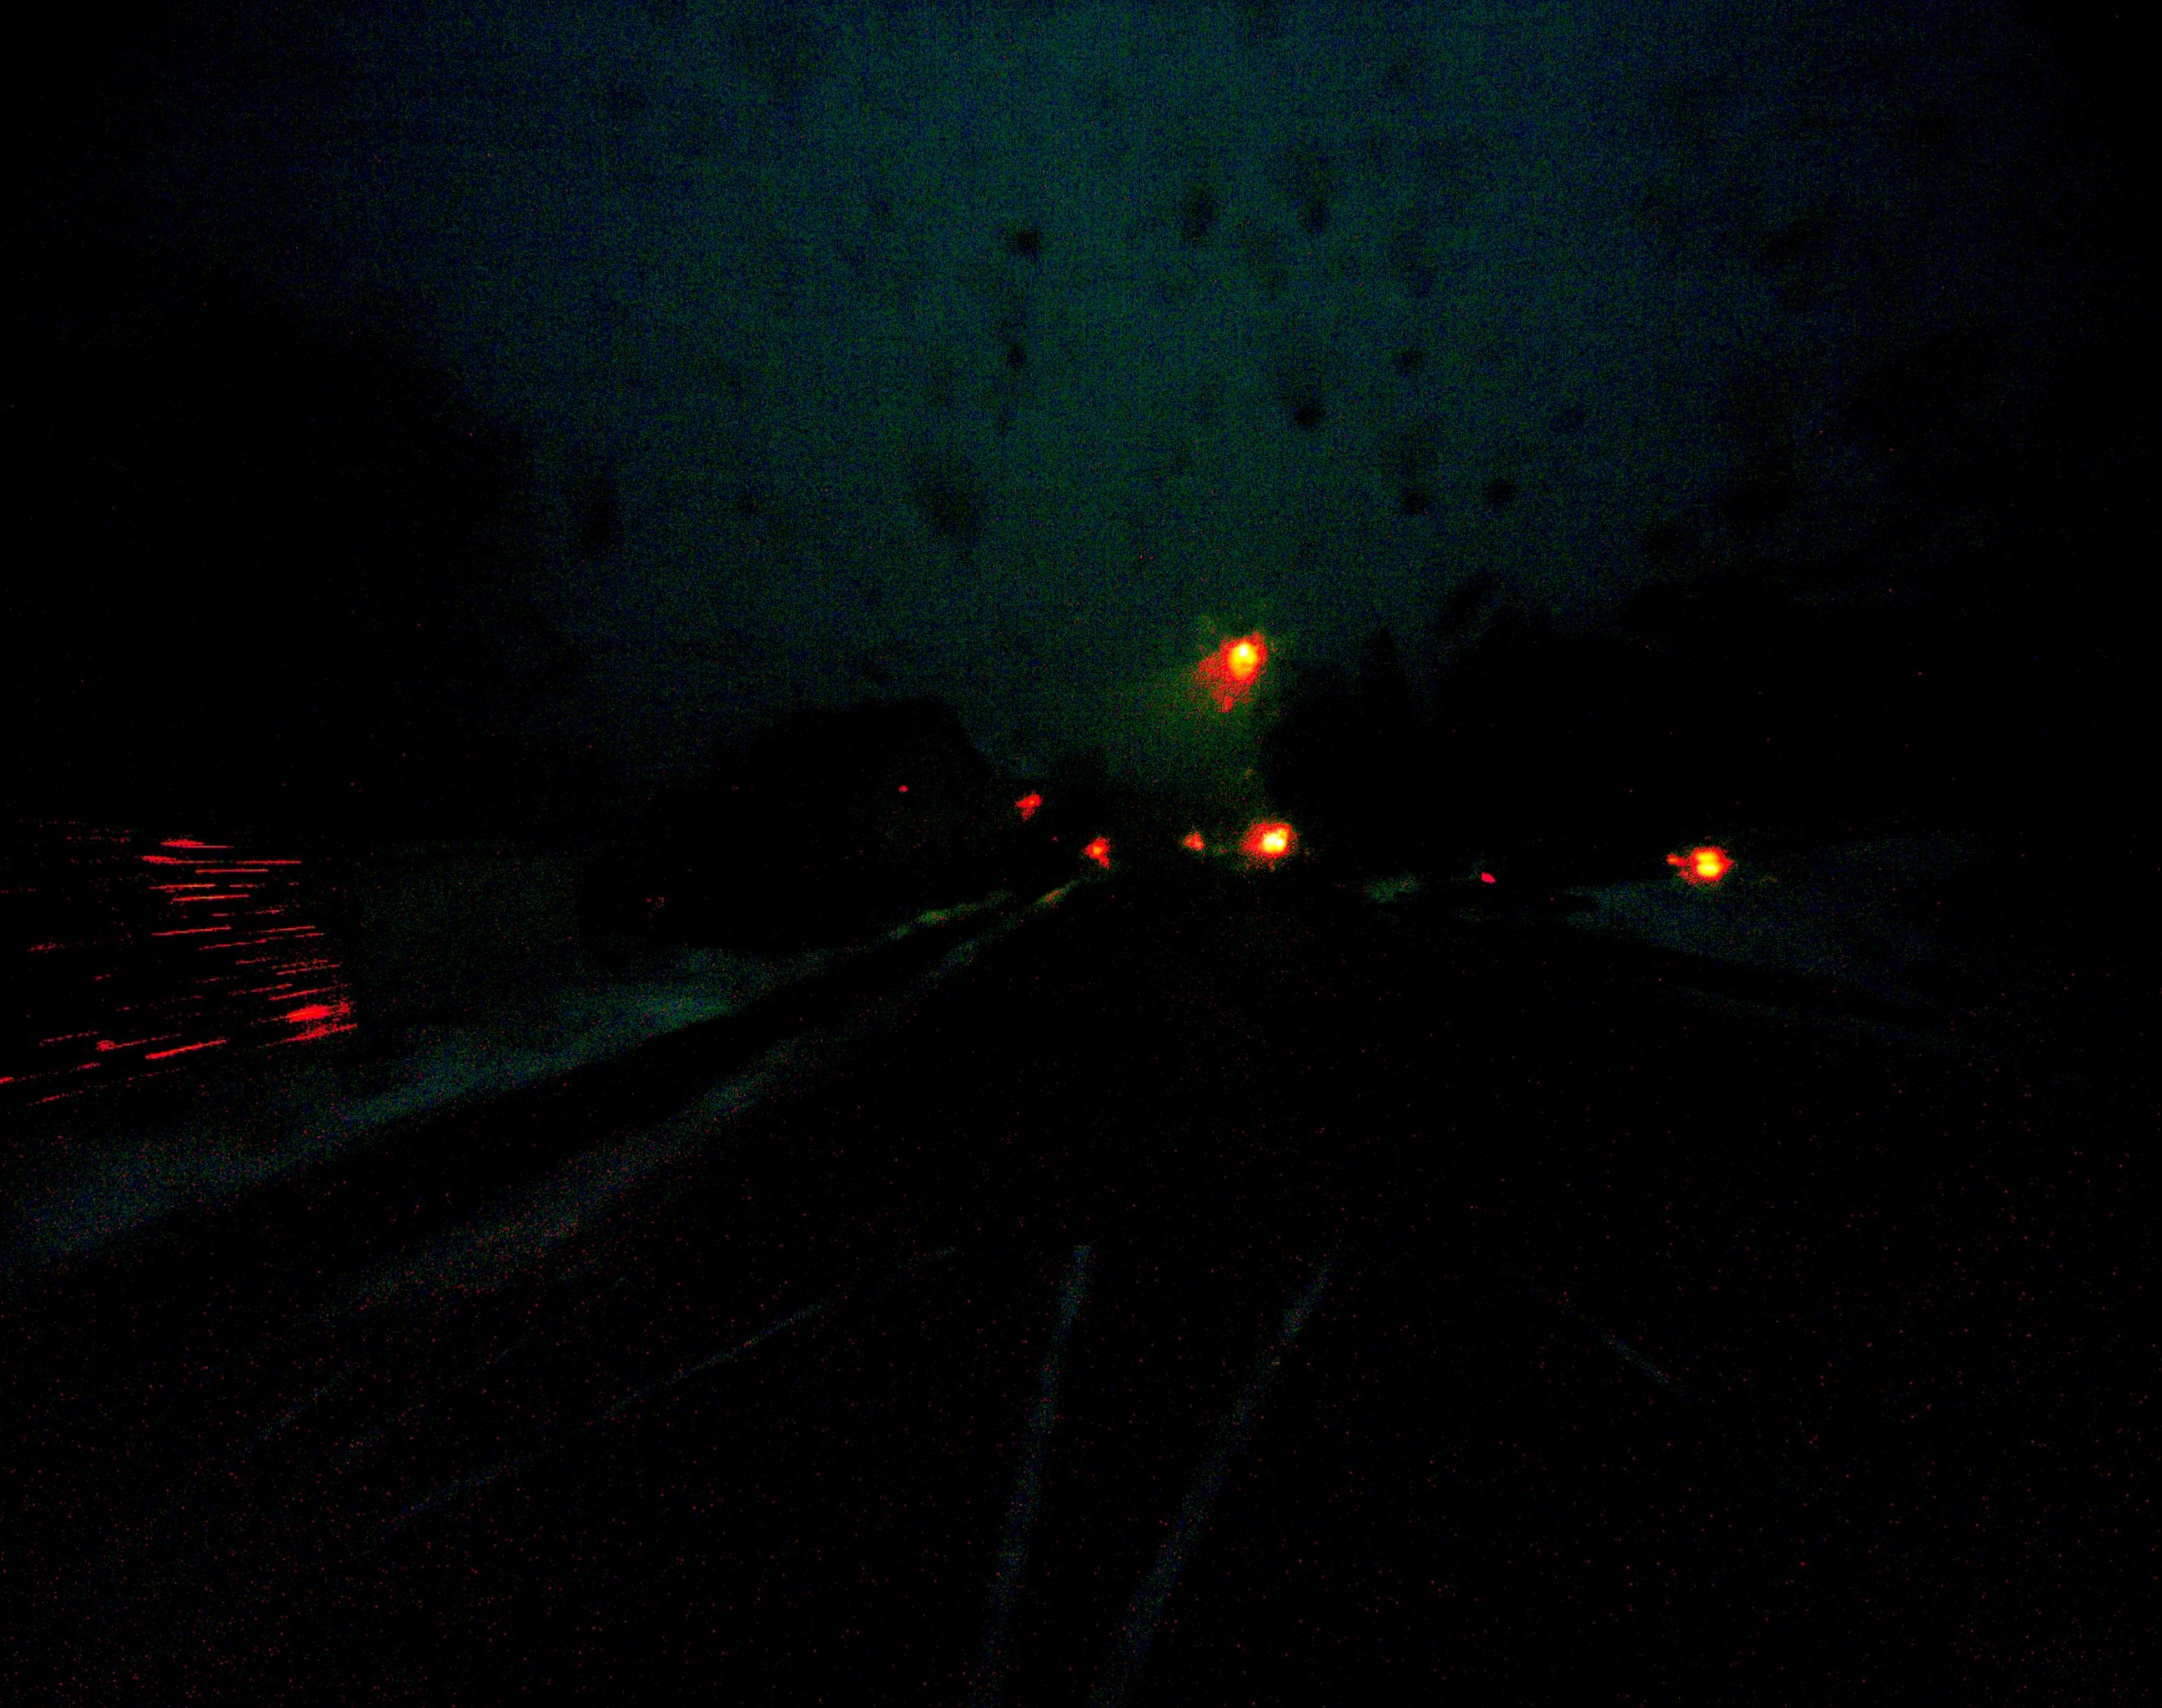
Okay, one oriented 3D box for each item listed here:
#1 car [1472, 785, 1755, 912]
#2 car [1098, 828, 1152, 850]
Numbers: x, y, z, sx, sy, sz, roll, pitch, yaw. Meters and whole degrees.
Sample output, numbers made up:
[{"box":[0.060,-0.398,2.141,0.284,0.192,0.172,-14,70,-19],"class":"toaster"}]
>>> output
[{"box":[9.982,-0.065,14.518,3.993,1.600,1.905,-11,0,37],"class":"car"},{"box":[3.827,-1.283,65.666,4.209,1.848,1.914,0,3,26],"class":"car"}]
